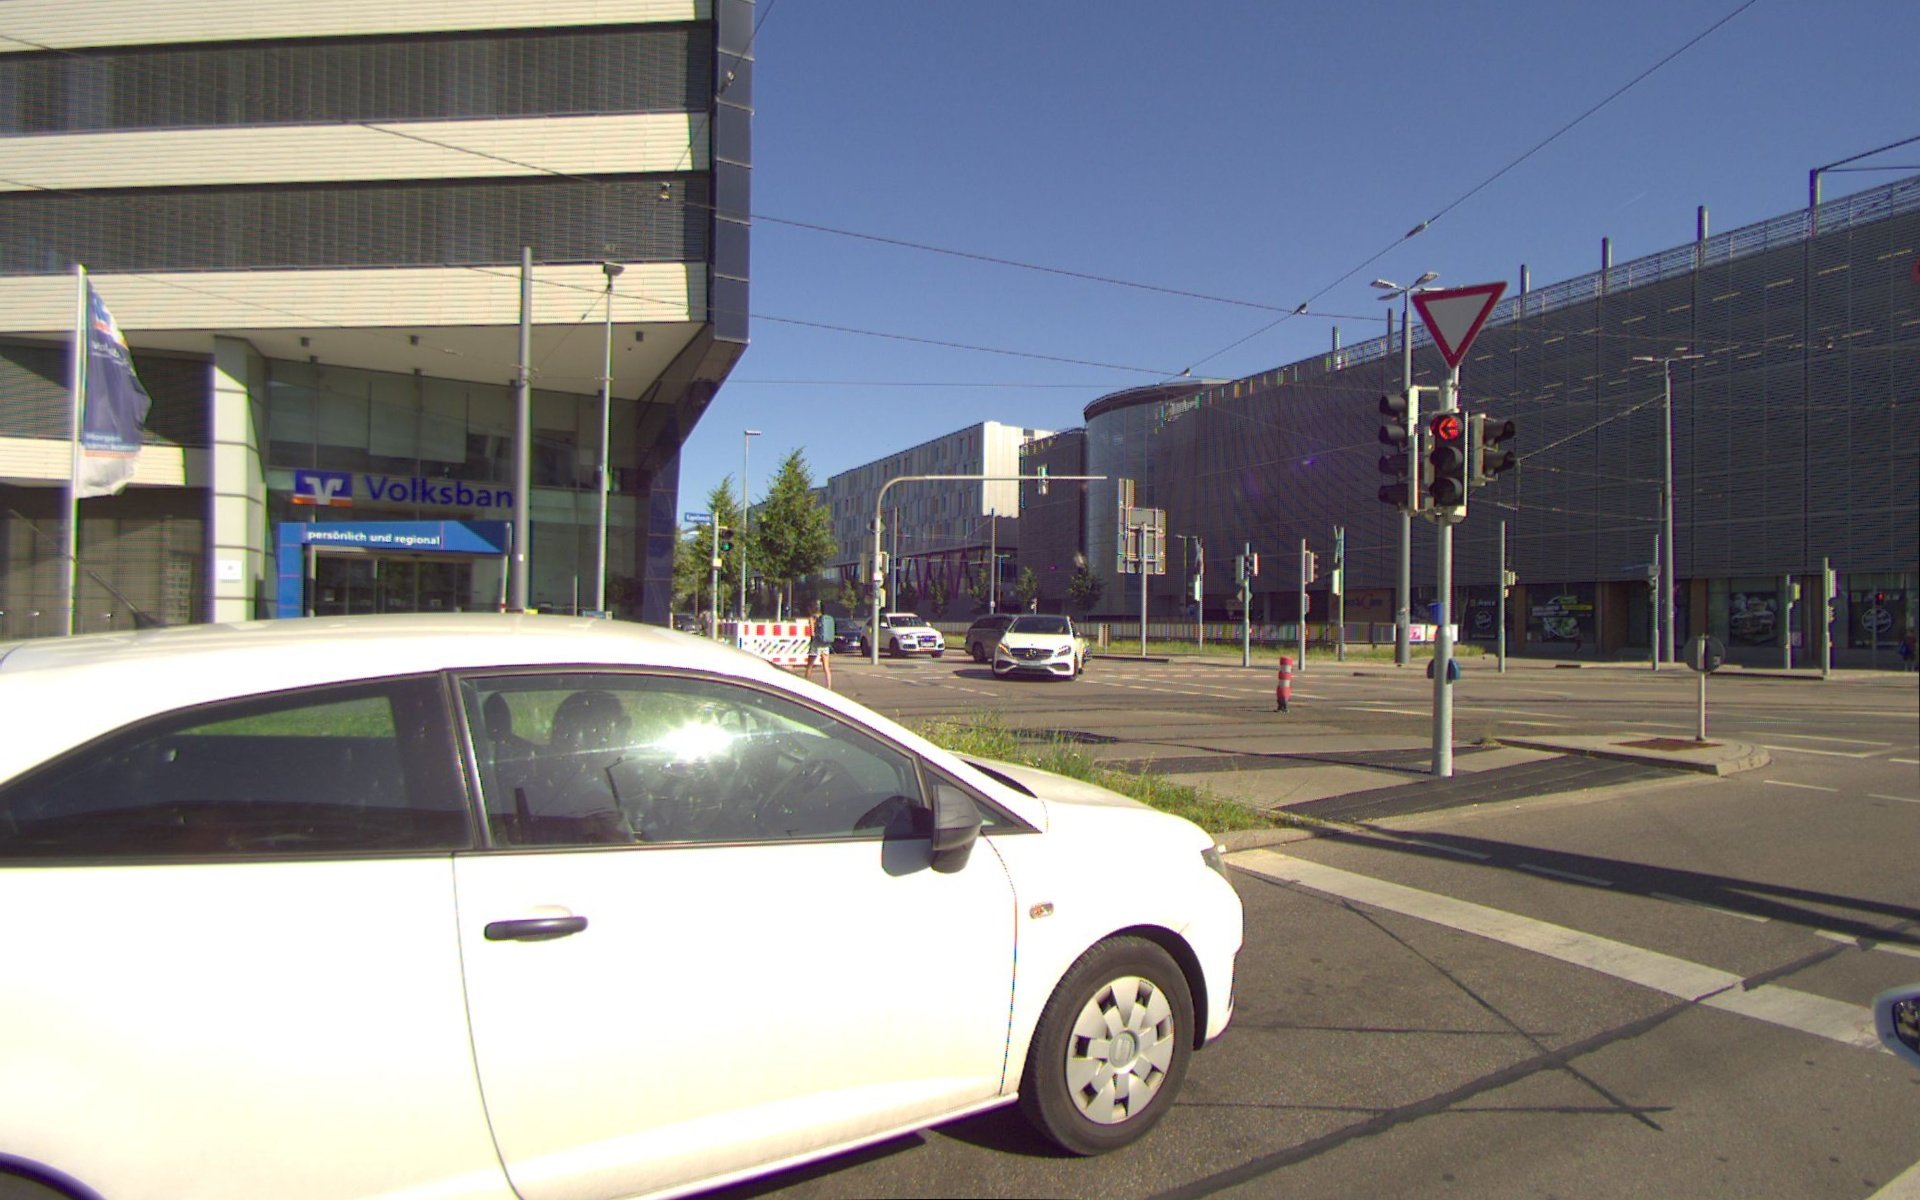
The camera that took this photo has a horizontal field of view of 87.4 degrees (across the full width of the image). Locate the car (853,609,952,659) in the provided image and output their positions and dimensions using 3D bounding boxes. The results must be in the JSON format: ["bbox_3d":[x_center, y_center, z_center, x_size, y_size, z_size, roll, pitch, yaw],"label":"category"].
[{"bbox_3d":[-2.220,1.254,37.600,1.913,1.729,4.650,1,-2,-28],"label":"car"}]

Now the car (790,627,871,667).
[{"bbox_3d":[-5.711,2.002,43.752,1.812,1.481,4.645,1,0,-31],"label":"car"}]

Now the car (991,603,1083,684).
[{"bbox_3d":[1.865,0.947,23.159,1.788,1.668,4.185,1,-1,9],"label":"car"}]

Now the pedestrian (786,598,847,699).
[{"bbox_3d":[-2.552,0.839,17.836,0.734,1.719,0.798,1,1,-40],"label":"pedestrian"}]

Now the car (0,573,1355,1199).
[{"bbox_3d":[-0.957,0.740,2.792,3.977,1.460,1.723,2,1,-31],"label":"car"}]

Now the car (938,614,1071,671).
[{"bbox_3d":[1.260,1.253,31.010,1.688,1.593,4.829,1,-1,-32],"label":"car"}]

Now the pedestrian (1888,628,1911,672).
[{"bbox_3d":[39.969,2.122,42.730,0.687,1.821,0.726,-2,-3,44],"label":"pedestrian"}]

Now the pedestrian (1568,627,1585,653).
[{"bbox_3d":[38.176,2.472,62.180,0.584,1.622,0.661,2,0,-11],"label":"pedestrian"}]
